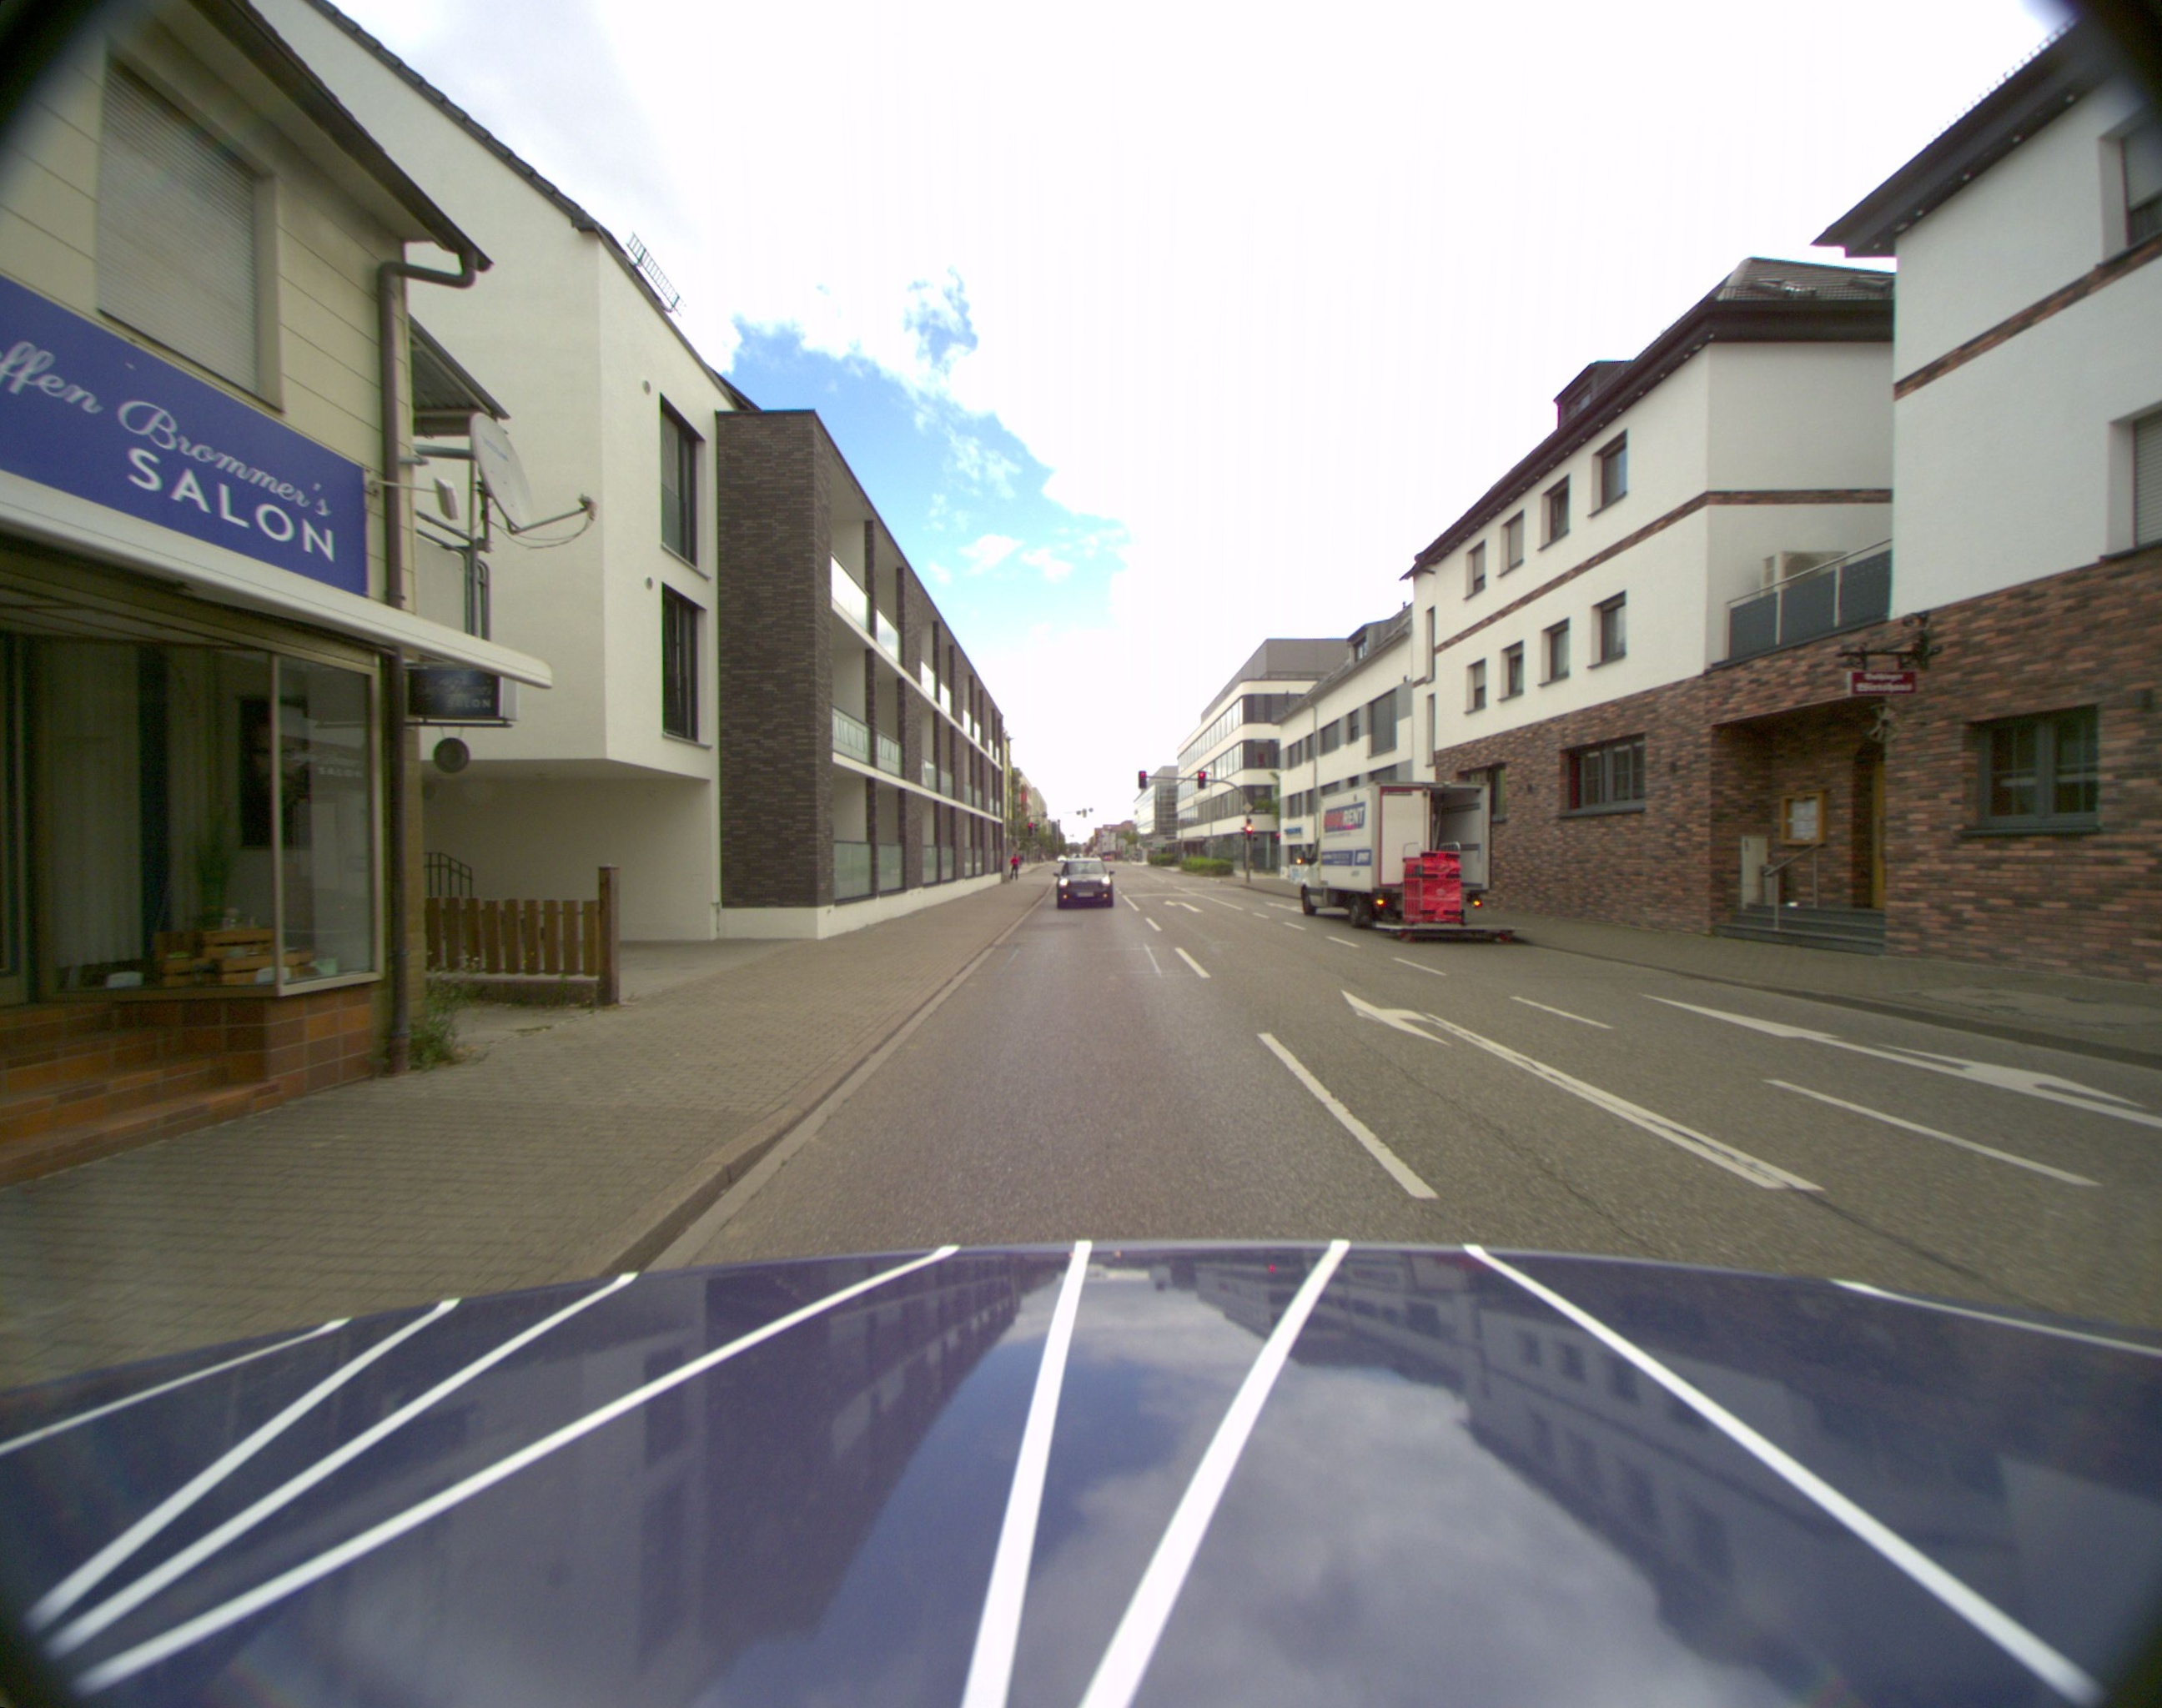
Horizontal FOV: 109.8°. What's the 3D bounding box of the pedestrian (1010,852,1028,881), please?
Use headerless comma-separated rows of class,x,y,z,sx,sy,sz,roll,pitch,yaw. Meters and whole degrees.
pedestrian,-3.703,0.726,45.355,0.938,1.732,0.901,-1,1,0

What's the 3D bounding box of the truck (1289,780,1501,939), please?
truck,6.799,0.084,17.459,2.468,2.954,5.964,-2,1,1

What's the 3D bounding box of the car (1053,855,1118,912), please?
car,0.156,0.887,25.093,1.847,1.571,4.429,-3,0,0
